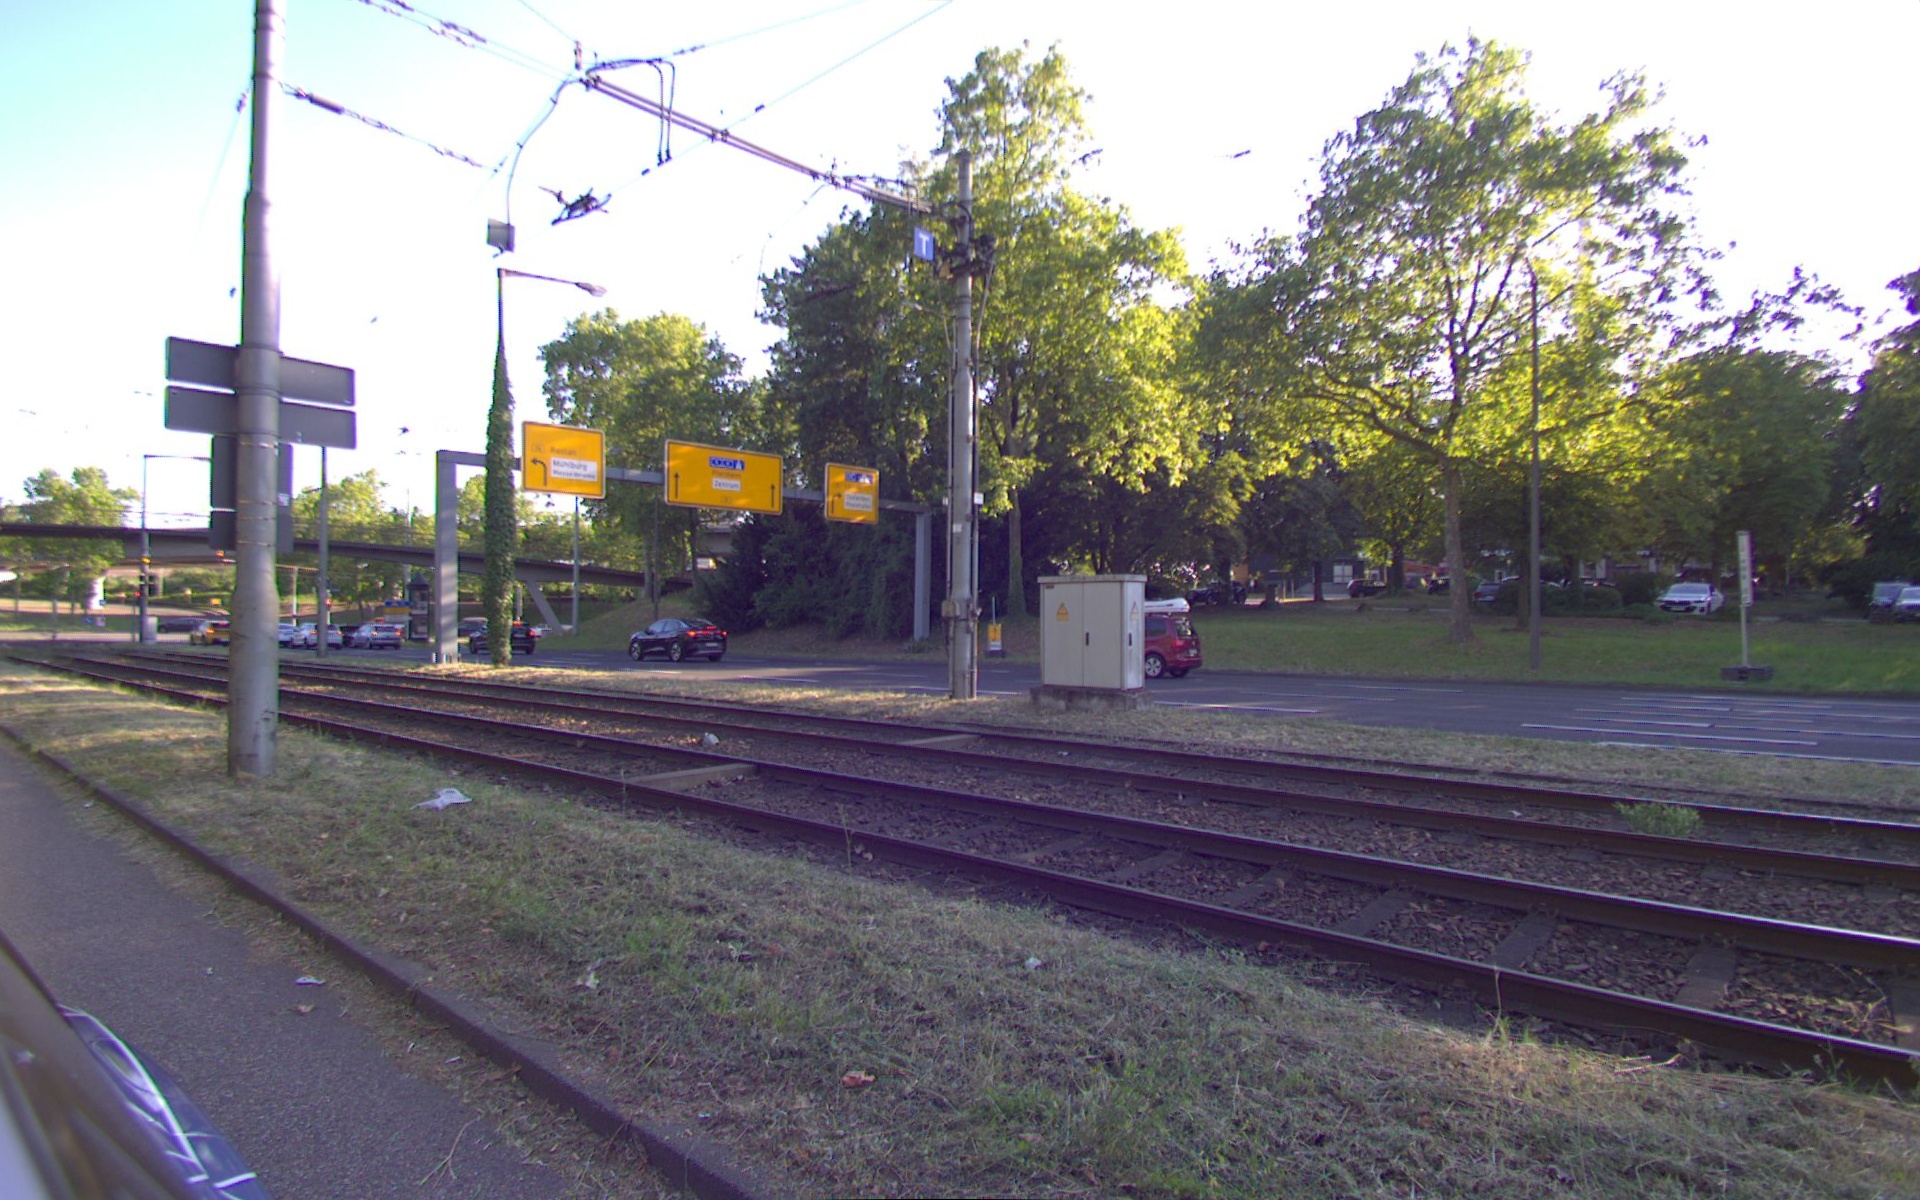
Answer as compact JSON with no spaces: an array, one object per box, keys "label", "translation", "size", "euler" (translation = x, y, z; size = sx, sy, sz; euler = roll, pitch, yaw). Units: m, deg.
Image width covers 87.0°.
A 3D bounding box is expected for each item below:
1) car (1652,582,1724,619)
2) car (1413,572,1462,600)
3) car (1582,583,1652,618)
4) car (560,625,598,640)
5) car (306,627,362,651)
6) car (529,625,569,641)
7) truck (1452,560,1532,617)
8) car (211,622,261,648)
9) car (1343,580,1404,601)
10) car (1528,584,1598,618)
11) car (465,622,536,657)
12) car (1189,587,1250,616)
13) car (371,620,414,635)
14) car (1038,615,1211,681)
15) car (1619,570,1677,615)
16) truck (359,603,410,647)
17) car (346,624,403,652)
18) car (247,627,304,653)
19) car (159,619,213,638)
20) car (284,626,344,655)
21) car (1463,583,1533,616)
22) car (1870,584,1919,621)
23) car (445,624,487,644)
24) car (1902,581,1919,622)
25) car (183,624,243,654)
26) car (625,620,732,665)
[{"label":"car","translation":[31.562,0.006,43.844],"size":[1.942,1.521,4.039],"euler":[0,0,44]},{"label":"car","translation":[33.557,-0.990,71.060],"size":[2.290,1.864,5.214],"euler":[-1,1,34]},{"label":"car","translation":[30.035,0.010,46.219],"size":[1.942,1.521,4.039],"euler":[0,0,44]},{"label":"car","translation":[-42.442,3.632,112.687],"size":[3.728,1.510,1.769],"euler":[-1,0,-32]},{"label":"car","translation":[-39.762,2.437,64.229],"size":[4.224,1.435,1.844],"euler":[-1,-1,40]},{"label":"car","translation":[-43.636,3.522,107.478],"size":[3.747,1.591,1.683],"euler":[-1,0,-26]},{"label":"truck","translation":[31.743,-0.685,60.284],"size":[2.503,3.191,6.137],"euler":[0,0,45]},{"label":"car","translation":[-45.838,2.182,64.045],"size":[4.228,1.561,1.892],"euler":[-1,-2,44]},{"label":"car","translation":[31.467,-0.730,77.112],"size":[4.057,1.521,1.933],"euler":[0,0,13]},{"label":"car","translation":[28.426,0.018,47.656],"size":[1.942,1.521,4.039],"euler":[0,0,44]},{"label":"car","translation":[-21.549,1.850,47.400],"size":[3.974,1.569,1.731],"euler":[-2,-3,45]},{"label":"car","translation":[15.396,0.065,59.956],"size":[1.791,1.657,3.942],"euler":[-1,-1,44]},{"label":"car","translation":[-58.589,2.815,104.528],"size":[3.810,1.421,1.817],"euler":[-1,0,-30]},{"label":"car","translation":[4.372,1.242,27.228],"size":[4.306,1.647,1.819],"euler":[-1,-2,39]},{"label":"car","translation":[36.886,-0.396,54.238],"size":[2.161,2.320,4.348],"euler":[0,0,40]},{"label":"truck","translation":[-40.303,1.740,70.768],"size":[2.248,2.901,6.895],"euler":[0,-1,-37]},{"label":"car","translation":[-34.962,2.249,60.414],"size":[3.998,1.556,1.789],"euler":[-1,-1,41]},{"label":"car","translation":[-40.574,2.349,59.955],"size":[4.226,1.435,1.893],"euler":[-1,-1,42]},{"label":"car","translation":[-73.337,2.693,95.970],"size":[3.810,1.677,1.817],"euler":[-1,0,-28]},{"label":"car","translation":[-35.741,2.204,55.957],"size":[3.997,1.556,1.744],"euler":[-1,-1,40]},{"label":"car","translation":[26.170,-0.041,49.185],"size":[1.942,1.521,4.039],"euler":[0,0,44]},{"label":"car","translation":[43.969,0.099,47.225],"size":[3.998,1.628,1.864],"euler":[-1,0,-43]},{"label":"car","translation":[-50.407,3.444,103.230],"size":[3.748,1.872,1.682],"euler":[-1,0,-30]},{"label":"car","translation":[37.580,0.039,38.892],"size":[1.942,1.521,4.039],"euler":[0,0,44]},{"label":"car","translation":[-40.804,2.122,55.256],"size":[3.997,1.556,1.744],"euler":[-1,-1,40]},{"label":"car","translation":[-10.458,1.531,37.436],"size":[4.332,1.556,1.713],"euler":[-1,-2,41]}]
